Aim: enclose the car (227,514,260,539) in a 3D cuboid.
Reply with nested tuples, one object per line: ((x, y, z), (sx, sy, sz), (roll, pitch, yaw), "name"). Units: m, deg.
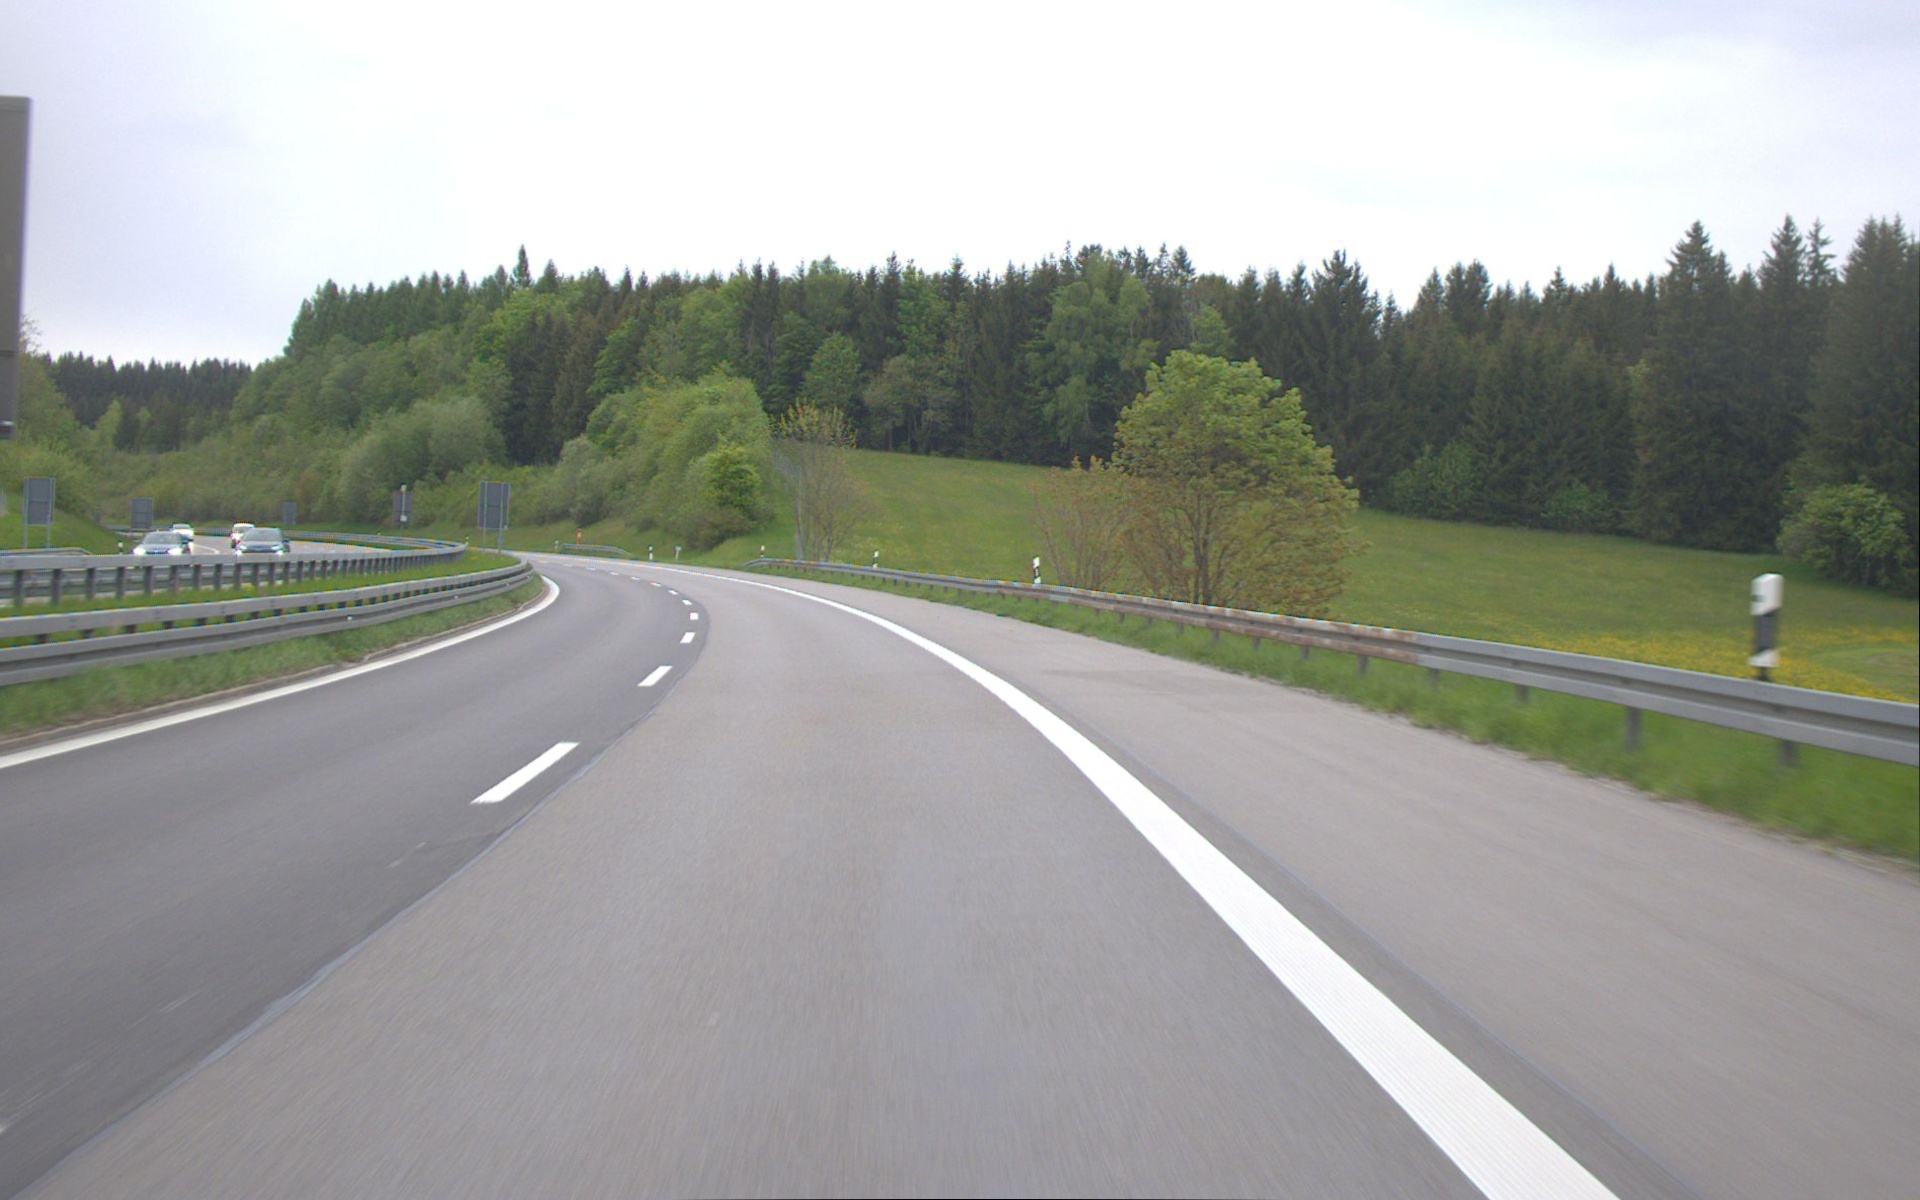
((-52.617, -5.423, 252.575), (1.993, 1.680, 4.628), (3, 1, -15), "car")

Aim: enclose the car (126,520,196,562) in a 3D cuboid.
((-30.607, -2.279, 131.759), (1.993, 1.435, 5.001), (3, 1, -7), "car")

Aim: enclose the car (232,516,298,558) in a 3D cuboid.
((-25.923, -2.374, 128.313), (1.993, 1.412, 4.001), (3, 1, -7), "car")
